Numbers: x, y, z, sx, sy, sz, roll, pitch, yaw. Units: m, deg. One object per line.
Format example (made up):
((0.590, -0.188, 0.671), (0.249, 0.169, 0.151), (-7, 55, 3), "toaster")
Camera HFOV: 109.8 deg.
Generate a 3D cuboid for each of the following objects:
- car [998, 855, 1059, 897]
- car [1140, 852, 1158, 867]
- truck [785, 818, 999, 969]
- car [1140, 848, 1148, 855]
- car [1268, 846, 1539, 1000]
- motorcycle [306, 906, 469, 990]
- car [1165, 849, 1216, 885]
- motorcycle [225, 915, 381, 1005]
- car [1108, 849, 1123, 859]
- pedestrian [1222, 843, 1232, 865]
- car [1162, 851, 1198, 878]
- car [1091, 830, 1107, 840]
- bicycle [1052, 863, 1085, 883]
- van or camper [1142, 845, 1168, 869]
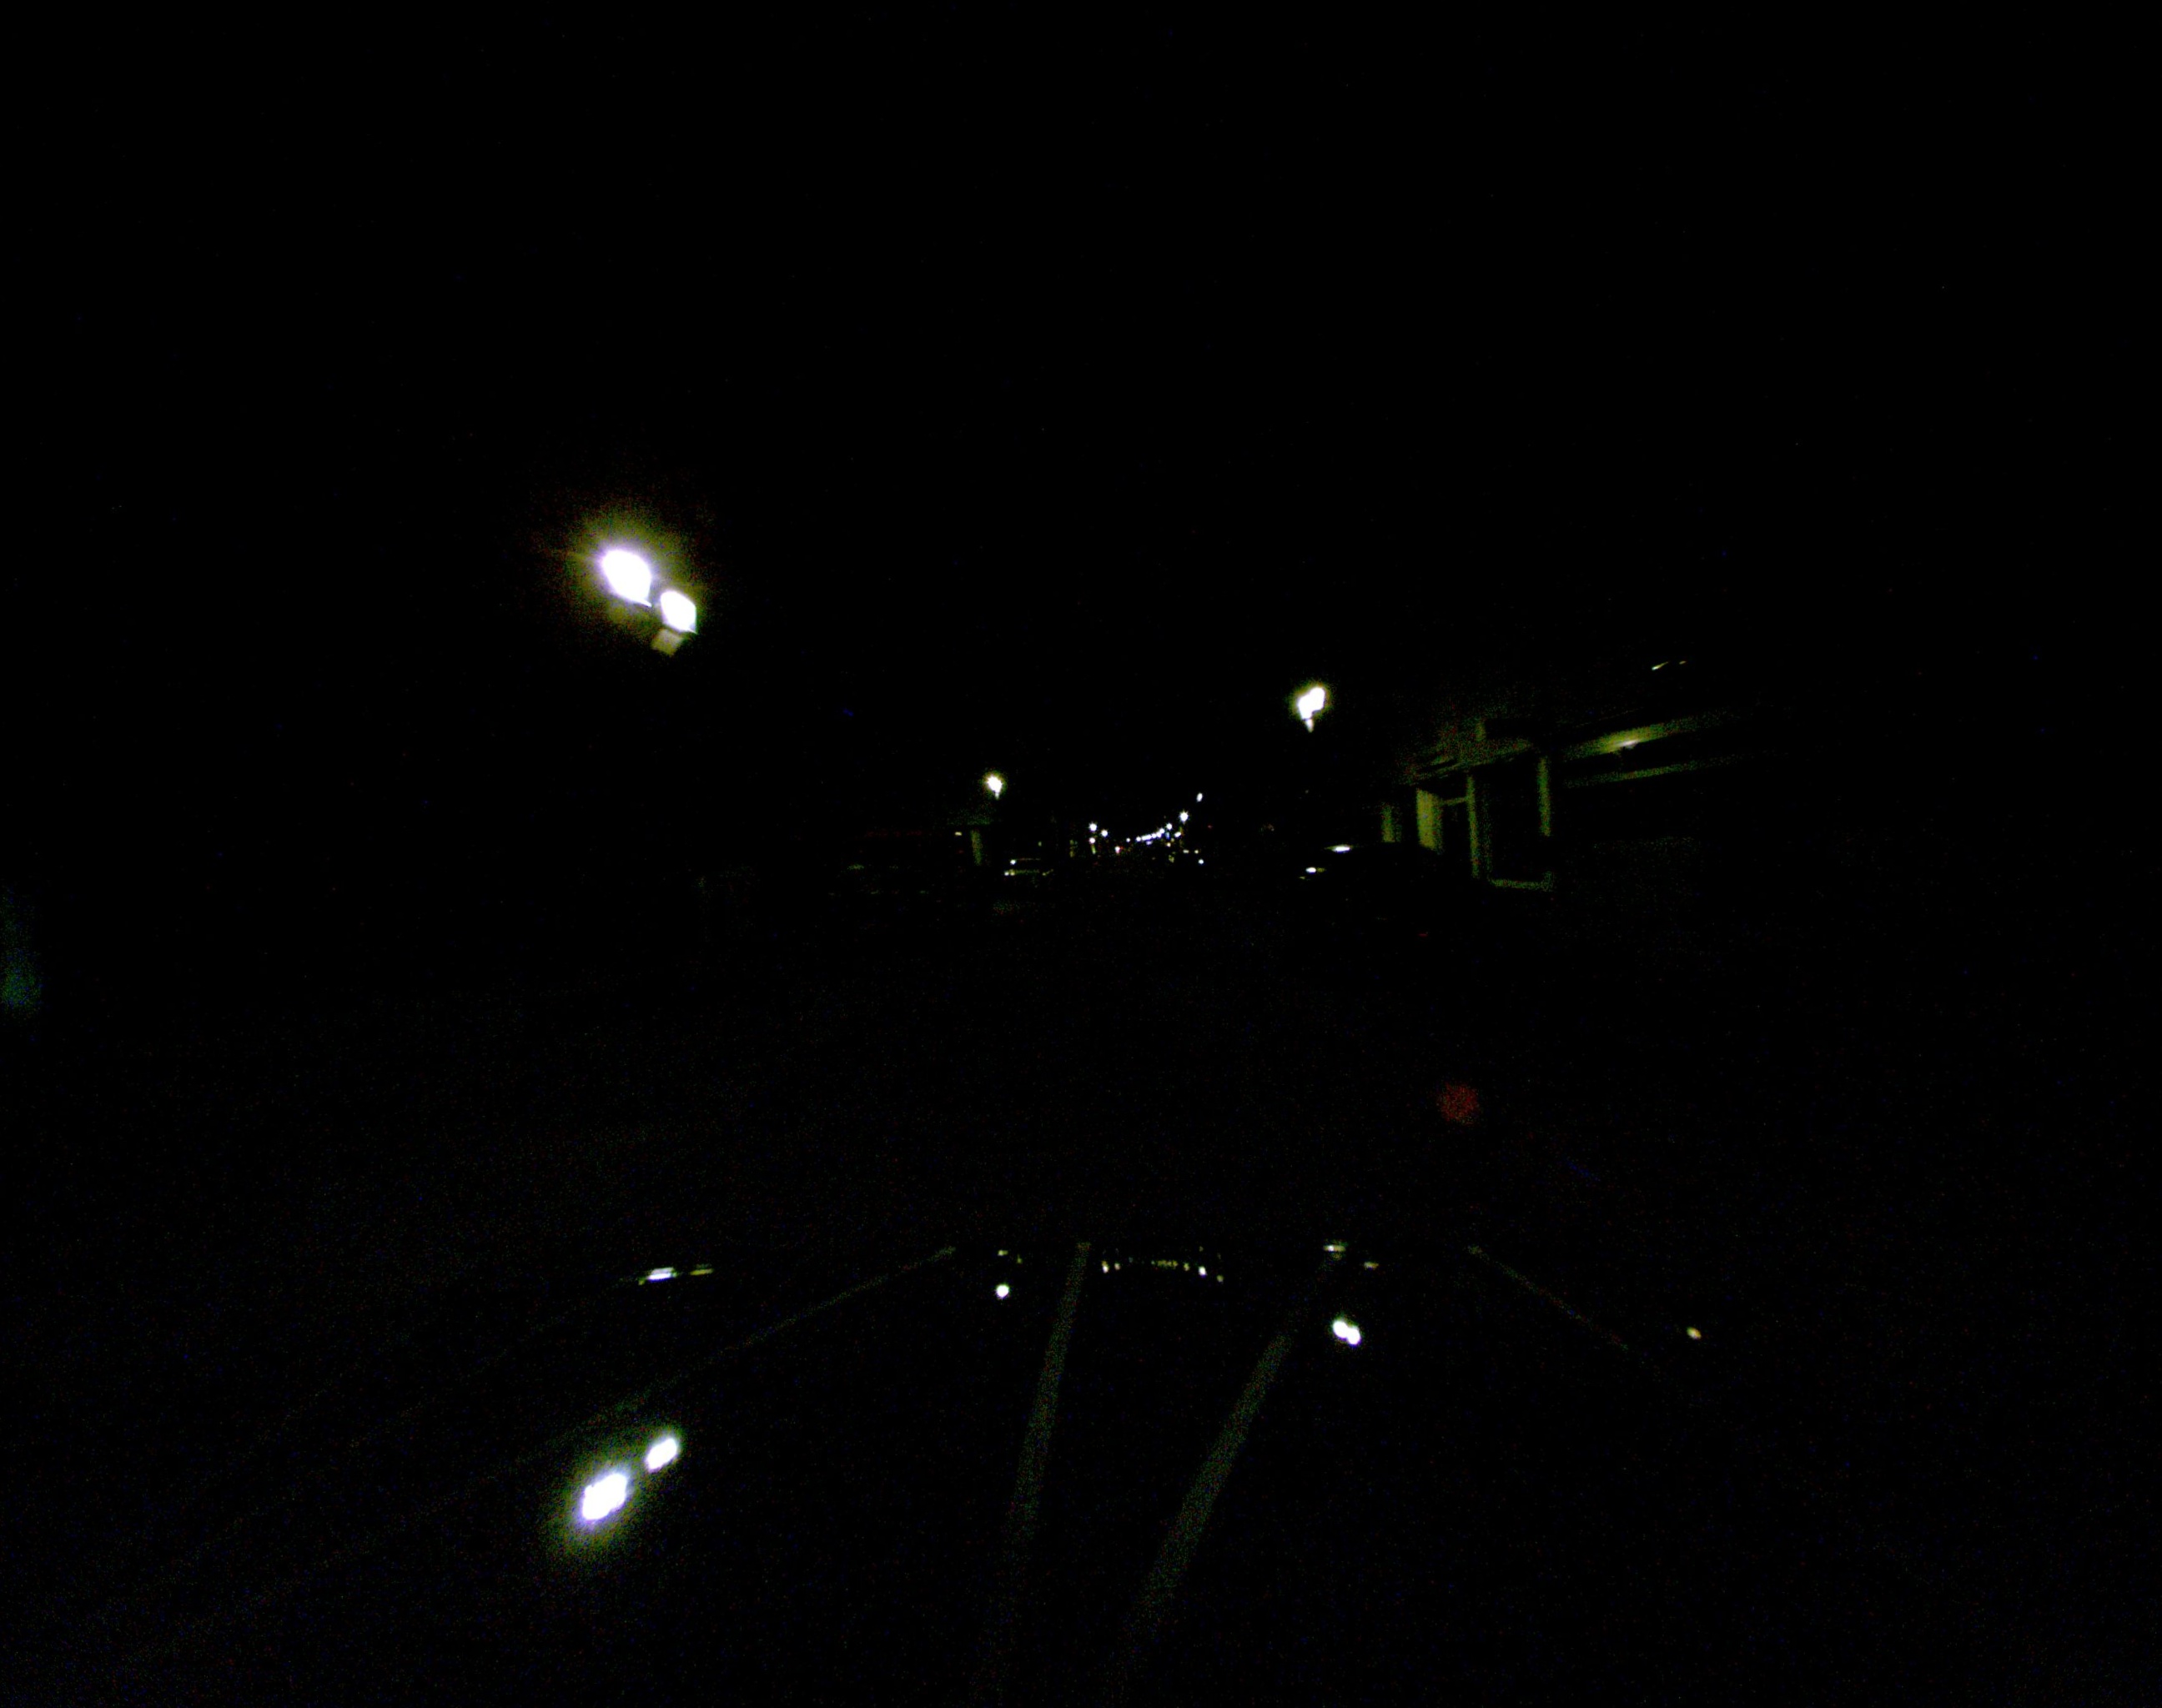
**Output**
((-2.046, 0.841, 30.536), (1.793, 1.483, 4.060), (-2, 0, 5), "car")
((7.213, 0.531, 80.316), (1.720, 1.404, 4.386), (-5, 0, 5), "car")
((-3.301, 0.612, 14.887), (2.341, 2.298, 5.781), (-2, 0, 4), "truck")
((15.309, -0.590, 184.397), (1.655, 1.417, 4.015), (-6, 0, 3), "car")
((3.992, 0.736, 10.273), (1.678, 1.534, 4.229), (-4, 0, -2), "car")
((-11.271, 1.513, 12.393), (2.022, 1.179, 0.561), (-3, 1, -2), "motorcycle")
((5.428, 0.607, 38.225), (2.024, 1.479, 5.008), (-6, 0, 3), "car")
((-11.574, 1.563, 11.335), (1.634, 1.179, 0.561), (-3, 1, -2), "motorcycle")
((4.980, -0.022, 109.500), (1.756, 1.455, 4.468), (-1, 1, 7), "car")
((11.658, -0.010, 60.685), (0.622, 1.735, 1.023), (-4, 1, 4), "pedestrian")
((5.869, 0.596, 45.413), (1.732, 1.468, 3.847), (-4, 0, 3), "car")
((2.429, -2.547, 102.585), (1.664, 1.369, 4.105), (-1, 1, 7), "car")
((-0.684, 1.048, 42.410), (1.758, 1.056, 0.346), (-3, 1, 2), "bicycle")
((6.865, 0.252, 70.037), (1.849, 1.930, 5.156), (-4, 0, 10), "van or camper")
